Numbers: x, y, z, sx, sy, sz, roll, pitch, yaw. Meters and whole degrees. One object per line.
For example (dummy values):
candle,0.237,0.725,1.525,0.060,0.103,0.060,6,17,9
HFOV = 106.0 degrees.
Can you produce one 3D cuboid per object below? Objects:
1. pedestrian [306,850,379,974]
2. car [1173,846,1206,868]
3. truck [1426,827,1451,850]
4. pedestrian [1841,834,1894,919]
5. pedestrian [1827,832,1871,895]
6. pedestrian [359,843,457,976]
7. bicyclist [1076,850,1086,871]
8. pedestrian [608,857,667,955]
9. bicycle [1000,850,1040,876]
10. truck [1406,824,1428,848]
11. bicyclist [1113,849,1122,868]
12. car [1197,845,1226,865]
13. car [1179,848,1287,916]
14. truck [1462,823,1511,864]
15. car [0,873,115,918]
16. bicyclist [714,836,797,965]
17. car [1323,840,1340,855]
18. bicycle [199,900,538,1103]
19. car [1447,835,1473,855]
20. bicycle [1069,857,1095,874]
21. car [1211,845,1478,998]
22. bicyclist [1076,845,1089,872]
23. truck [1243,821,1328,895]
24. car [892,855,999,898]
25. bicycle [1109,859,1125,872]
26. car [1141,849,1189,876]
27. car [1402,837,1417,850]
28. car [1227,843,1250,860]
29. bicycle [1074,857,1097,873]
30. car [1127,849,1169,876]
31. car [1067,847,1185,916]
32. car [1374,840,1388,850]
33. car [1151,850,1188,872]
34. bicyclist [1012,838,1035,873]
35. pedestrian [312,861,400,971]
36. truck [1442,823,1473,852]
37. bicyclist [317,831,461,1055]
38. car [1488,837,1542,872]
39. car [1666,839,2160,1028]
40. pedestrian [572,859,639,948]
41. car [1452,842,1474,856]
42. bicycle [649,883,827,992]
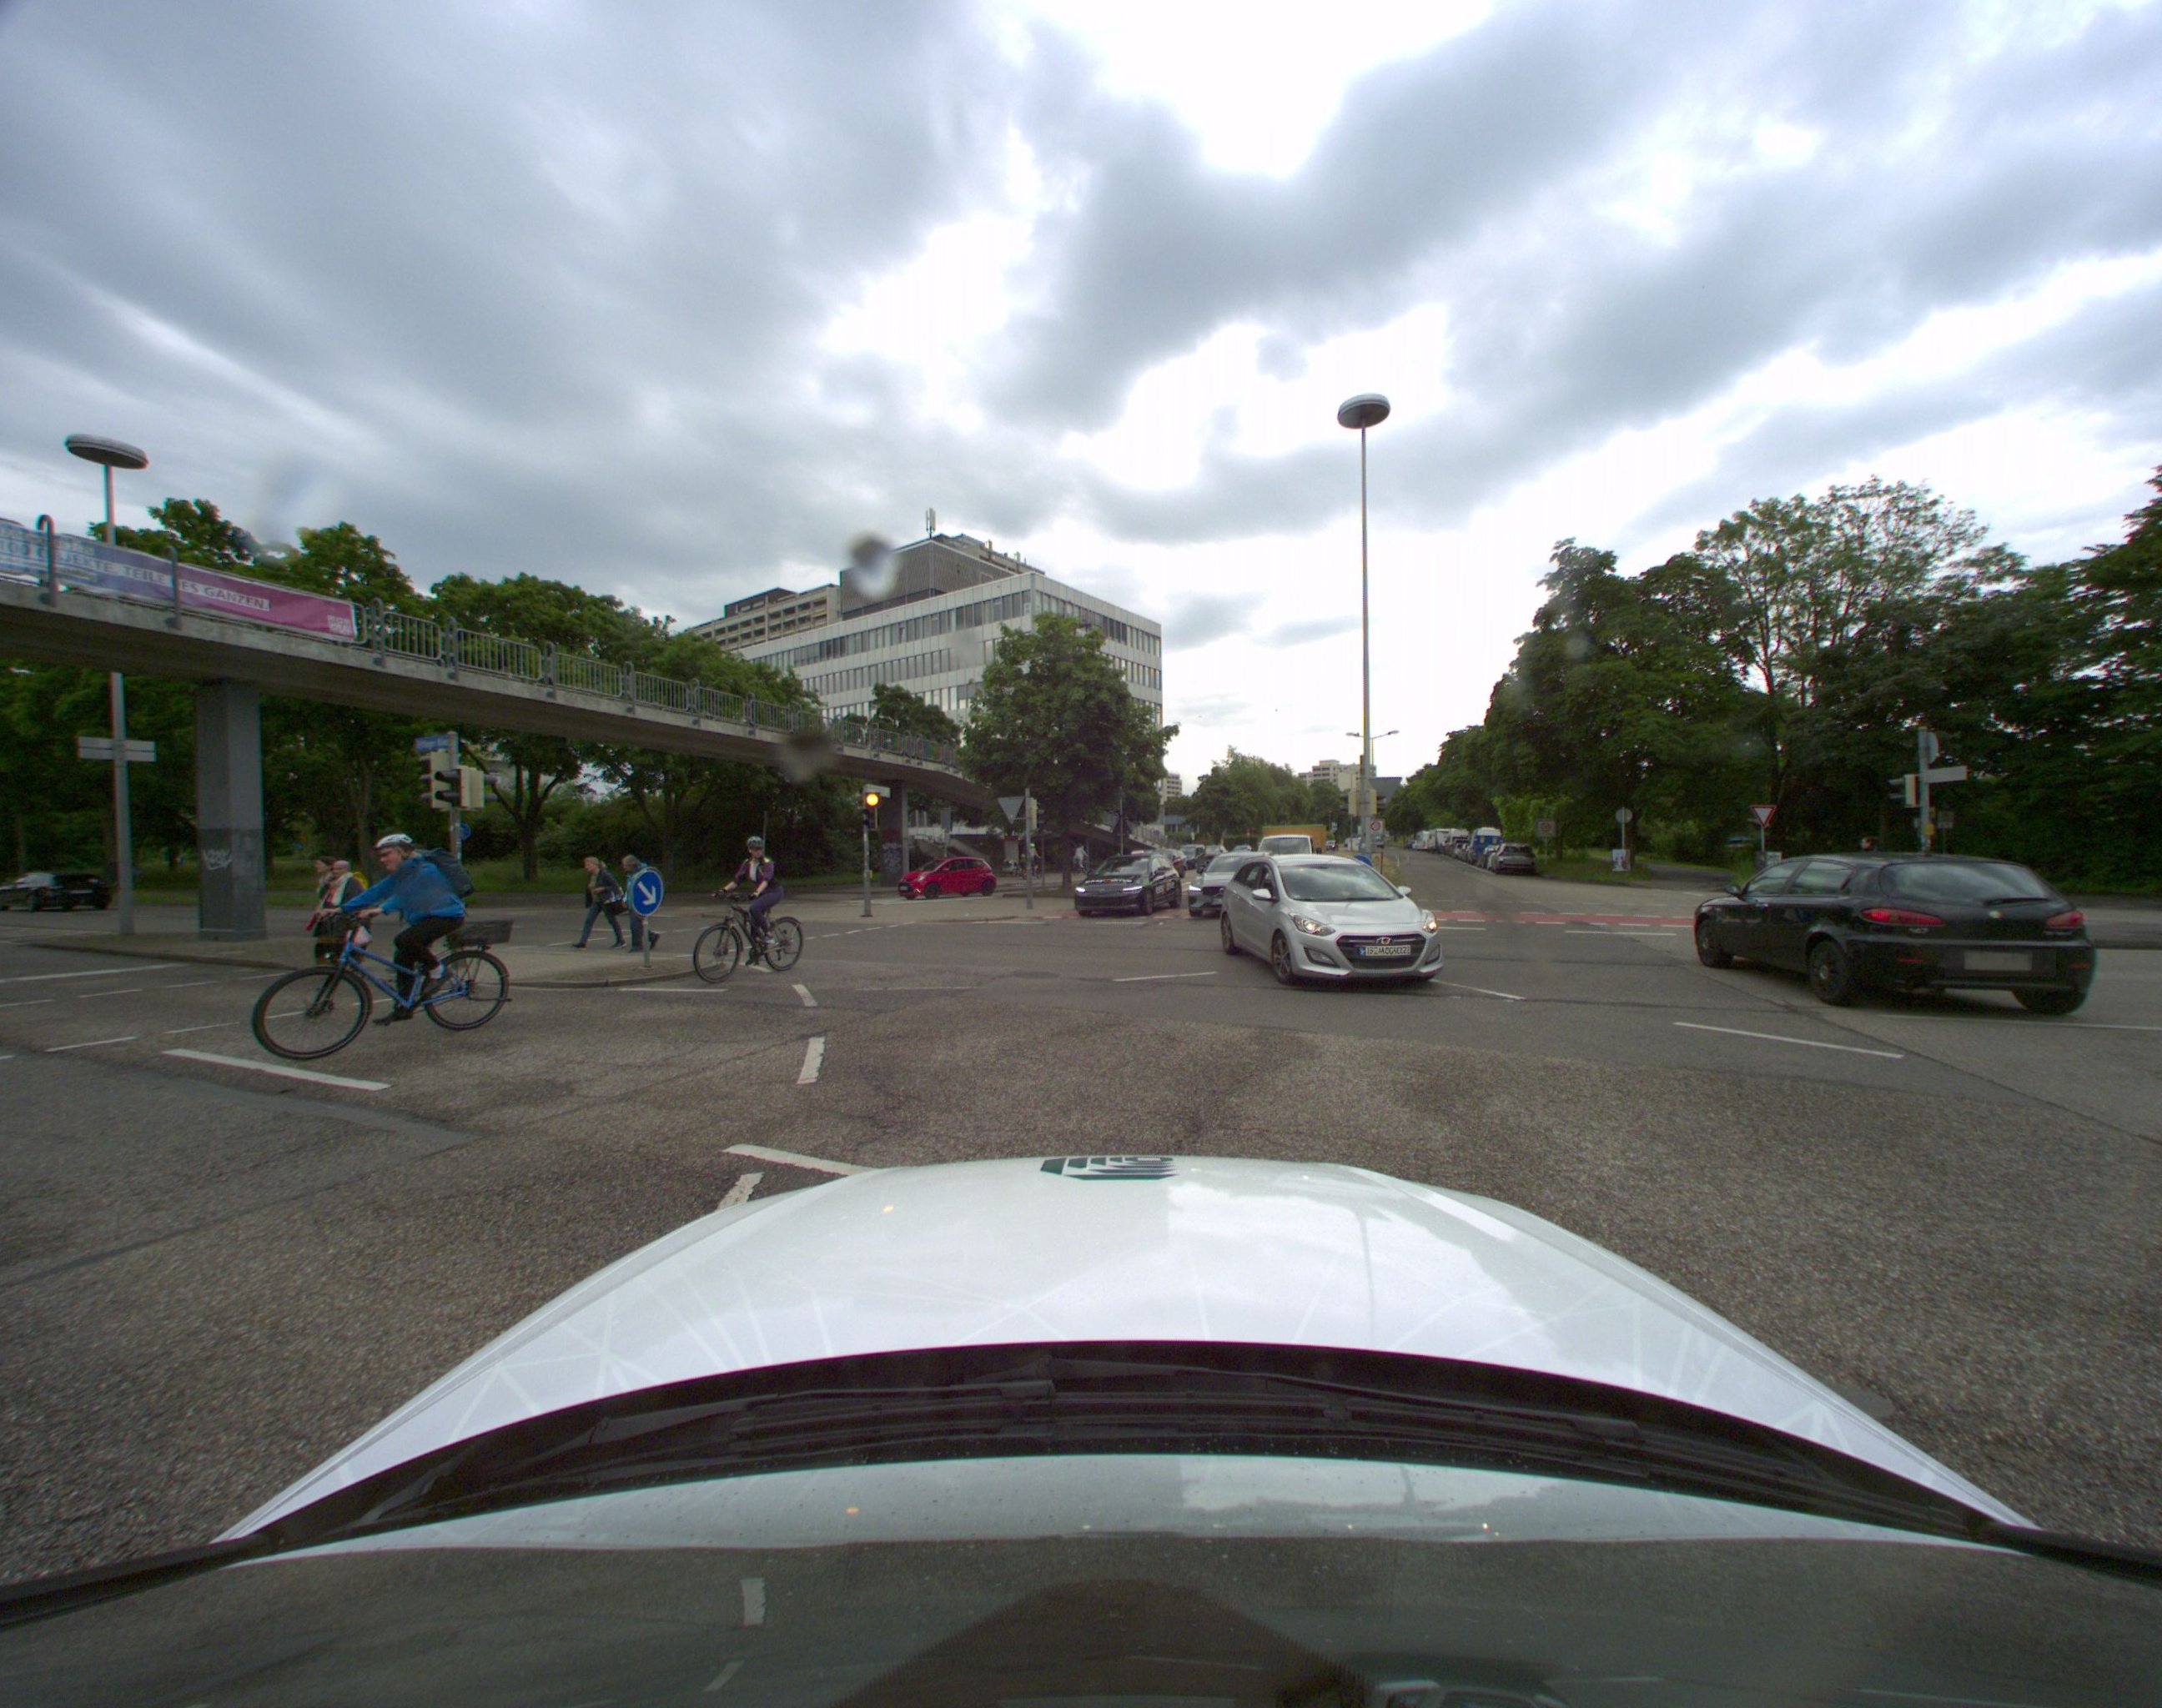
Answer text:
pedestrian,-10.342,0.804,11.409,0.615,1.691,0.406,-1,1,5
car,8.235,0.186,61.577,1.657,1.552,3.781,-1,1,20
truck,42.251,-1.783,96.340,1.978,2.572,5.402,-1,0,17
pedestrian,16.492,0.469,17.083,0.651,1.749,0.461,-1,1,18
pedestrian,16.726,0.206,17.740,0.522,1.341,0.527,-1,1,19
pedestrian,-9.510,0.756,11.530,0.633,1.803,0.804,-1,1,10
bicyclist,-0.015,0.349,46.856,0.401,1.181,0.379,3,3,21
pedestrian,-7.447,0.859,13.672,0.682,1.604,0.490,-1,1,14
bicycle,-3.339,0.474,44.831,0.848,1.315,3.247,-1,2,21
truck,44.193,-2.346,107.131,1.978,3.009,5.796,-1,0,16
bicyclist,2.423,0.305,54.355,0.427,1.217,0.570,-1,1,18
car,11.006,0.059,68.317,1.657,1.552,4.020,-1,1,20
car,3.770,0.640,19.486,1.881,1.420,4.758,-1,-1,19
truck,28.346,-0.749,57.111,2.157,2.656,6.277,-2,0,19
car,-38.432,1.497,30.506,4.344,1.508,1.682,-1,2,24
bicyclist,-4.185,0.579,10.502,0.673,1.594,0.698,-1,0,19
car,34.600,-0.907,112.555,1.977,2.013,4.020,-1,0,20
bicycle,-5.787,1.103,6.832,0.538,1.267,2.121,-1,1,19
car,35.221,-0.877,75.778,1.706,1.759,4.018,-1,1,17
bicycle,0.058,0.663,46.993,0.755,0.949,1.965,-1,1,25
car,3.065,0.665,10.519,1.786,1.519,4.319,-1,1,-4
bicyclist,0.104,0.274,50.586,0.559,1.644,0.535,-1,0,36
truck,7.058,0.069,27.582,2.137,2.199,5.870,-1,1,20
car,-4.812,0.775,29.201,3.552,1.390,1.498,-1,0,-43
bicycle,2.423,0.775,54.316,0.505,0.778,1.850,-1,1,21
car,4.426,0.433,42.557,1.544,1.346,2.990,-1,1,25
car,49.340,-1.621,122.441,1.639,1.918,3.935,-1,2,15
car,15.598,-0.240,80.639,1.657,1.552,4.020,-1,1,20
bicycle,0.270,0.677,50.797,0.521,0.949,1.720,-1,1,35
car,4.257,0.490,51.444,1.657,1.552,3.912,-1,1,20
car,1.249,0.595,20.312,1.755,1.477,4.412,-1,1,19
car,48.590,-1.437,132.055,2.004,1.505,4.020,-1,1,19
car,6.201,0.448,56.616,1.657,1.387,3.915,-1,1,20
bicyclist,-3.193,0.086,45.243,0.848,1.892,1.133,-1,1,21
pedestrian,-10.895,0.904,12.266,0.577,1.579,0.782,-1,1,1
truck,39.076,-1.677,84.604,1.979,2.838,5.755,-1,1,15
bicyclist,-5.801,0.702,6.848,0.638,1.768,0.650,-1,1,20
car,22.012,-0.022,41.443,1.769,1.662,4.020,-1,1,19
car,8.231,0.592,8.779,1.783,1.457,4.562,-1,1,17
pedestrian,-8.256,0.851,14.163,0.912,1.510,0.405,-1,1,8
car,33.706,-0.460,71.906,1.314,1.191,3.670,-1,1,17
bicycle,-4.247,0.983,10.324,0.721,1.101,2.275,-1,1,19
